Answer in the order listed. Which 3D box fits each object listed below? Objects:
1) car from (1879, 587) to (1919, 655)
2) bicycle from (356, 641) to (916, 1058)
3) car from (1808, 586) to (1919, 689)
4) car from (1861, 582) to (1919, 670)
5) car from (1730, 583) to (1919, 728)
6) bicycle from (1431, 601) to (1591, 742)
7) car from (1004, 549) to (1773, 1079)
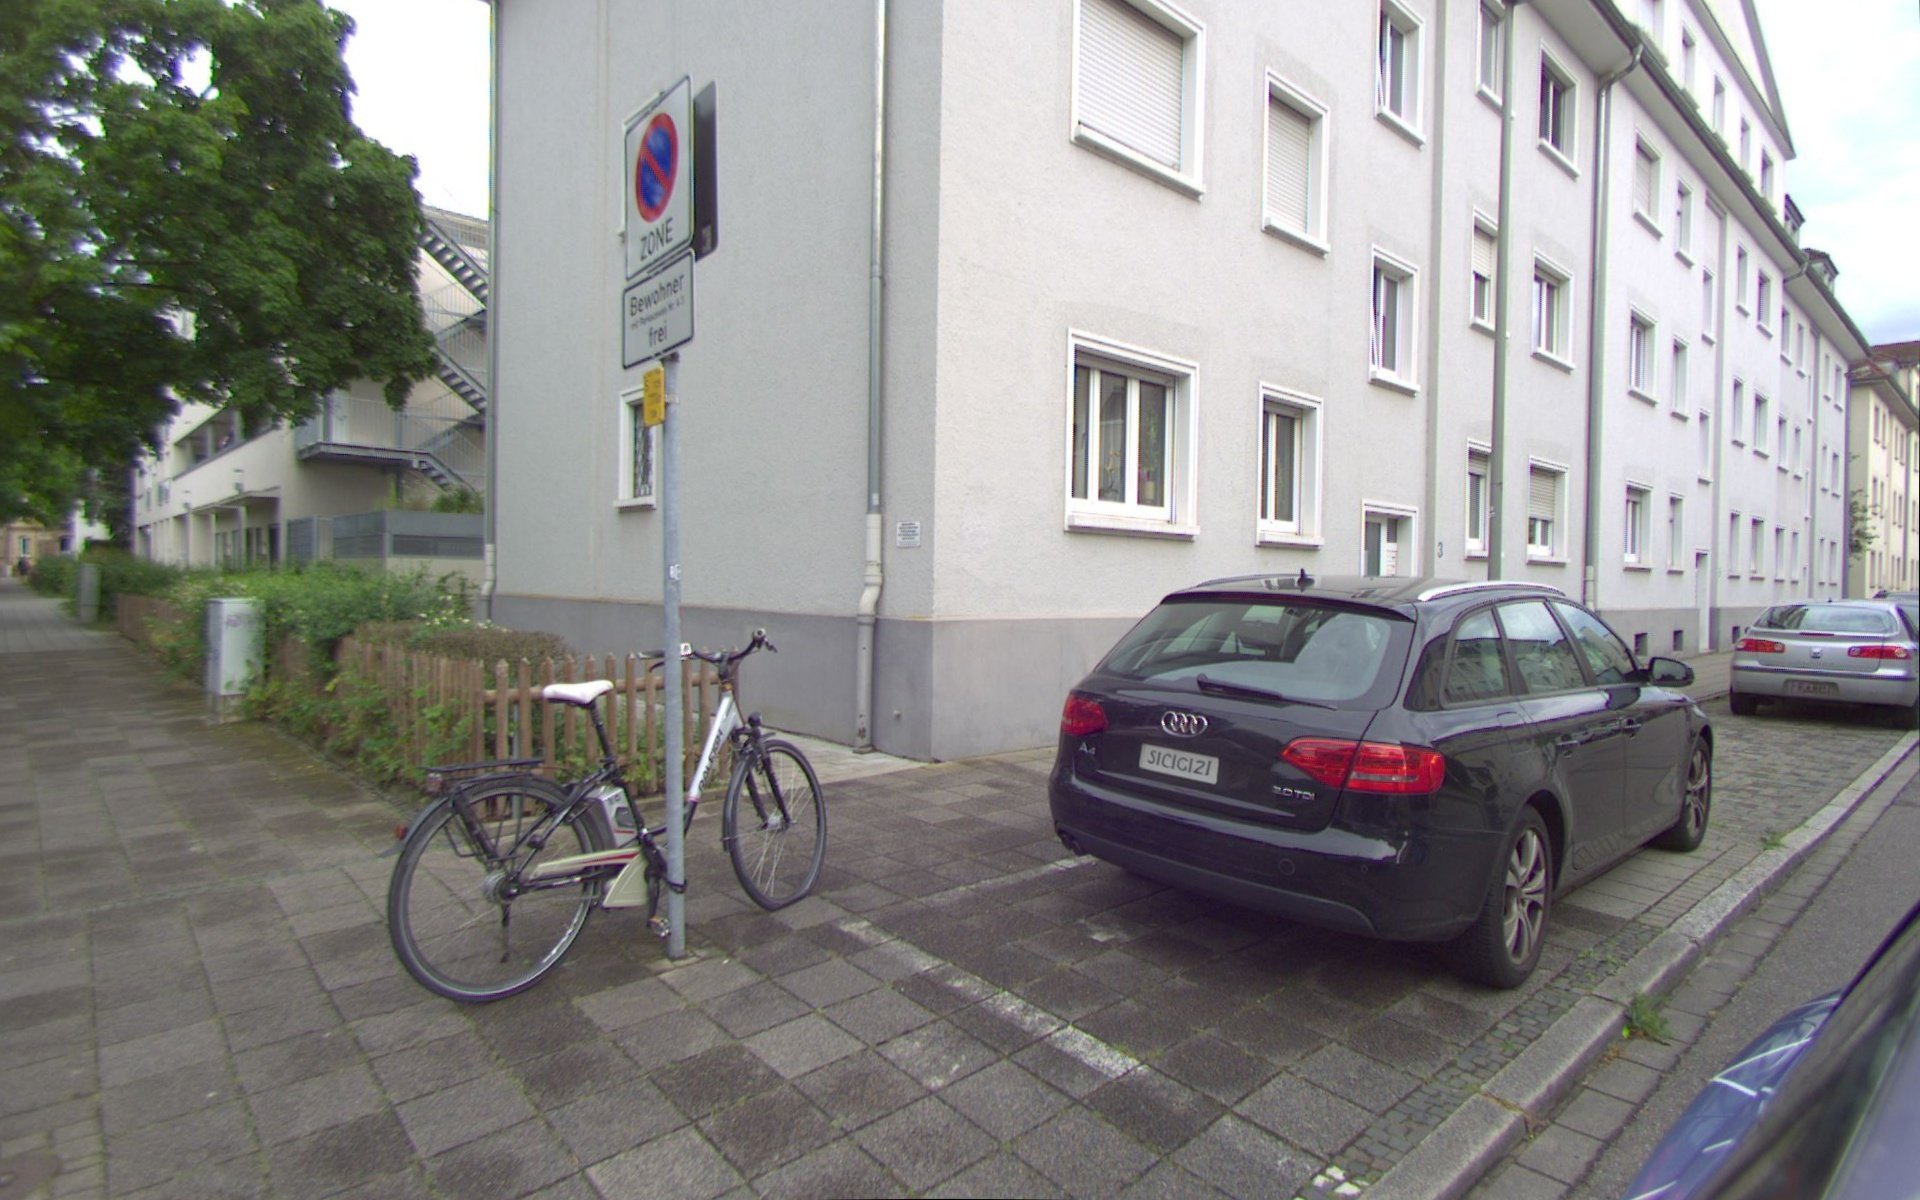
[{"bbox_3d":[22.931,0.493,23.671,3.692,1.505,1.735,0,2,-42],"label":"car"},{"bbox_3d":[-1.060,0.737,3.663,1.856,1.016,0.568,-2,5,-42],"label":"bicycle"},{"bbox_3d":[15.376,0.559,16.588,4.250,1.481,1.784,0,2,-44],"label":"car"},{"bbox_3d":[19.415,0.494,20.138,4.090,1.619,1.850,0,2,-44],"label":"car"},{"bbox_3d":[11.177,0.580,12.687,4.356,1.481,1.734,0,2,-44],"label":"car"},{"bbox_3d":[5.430,0.645,9.931,1.862,1.215,0.750,0,3,-42],"label":"bicycle"},{"bbox_3d":[2.512,0.568,5.120,4.646,1.480,1.863,0,2,-44],"label":"car"}]
